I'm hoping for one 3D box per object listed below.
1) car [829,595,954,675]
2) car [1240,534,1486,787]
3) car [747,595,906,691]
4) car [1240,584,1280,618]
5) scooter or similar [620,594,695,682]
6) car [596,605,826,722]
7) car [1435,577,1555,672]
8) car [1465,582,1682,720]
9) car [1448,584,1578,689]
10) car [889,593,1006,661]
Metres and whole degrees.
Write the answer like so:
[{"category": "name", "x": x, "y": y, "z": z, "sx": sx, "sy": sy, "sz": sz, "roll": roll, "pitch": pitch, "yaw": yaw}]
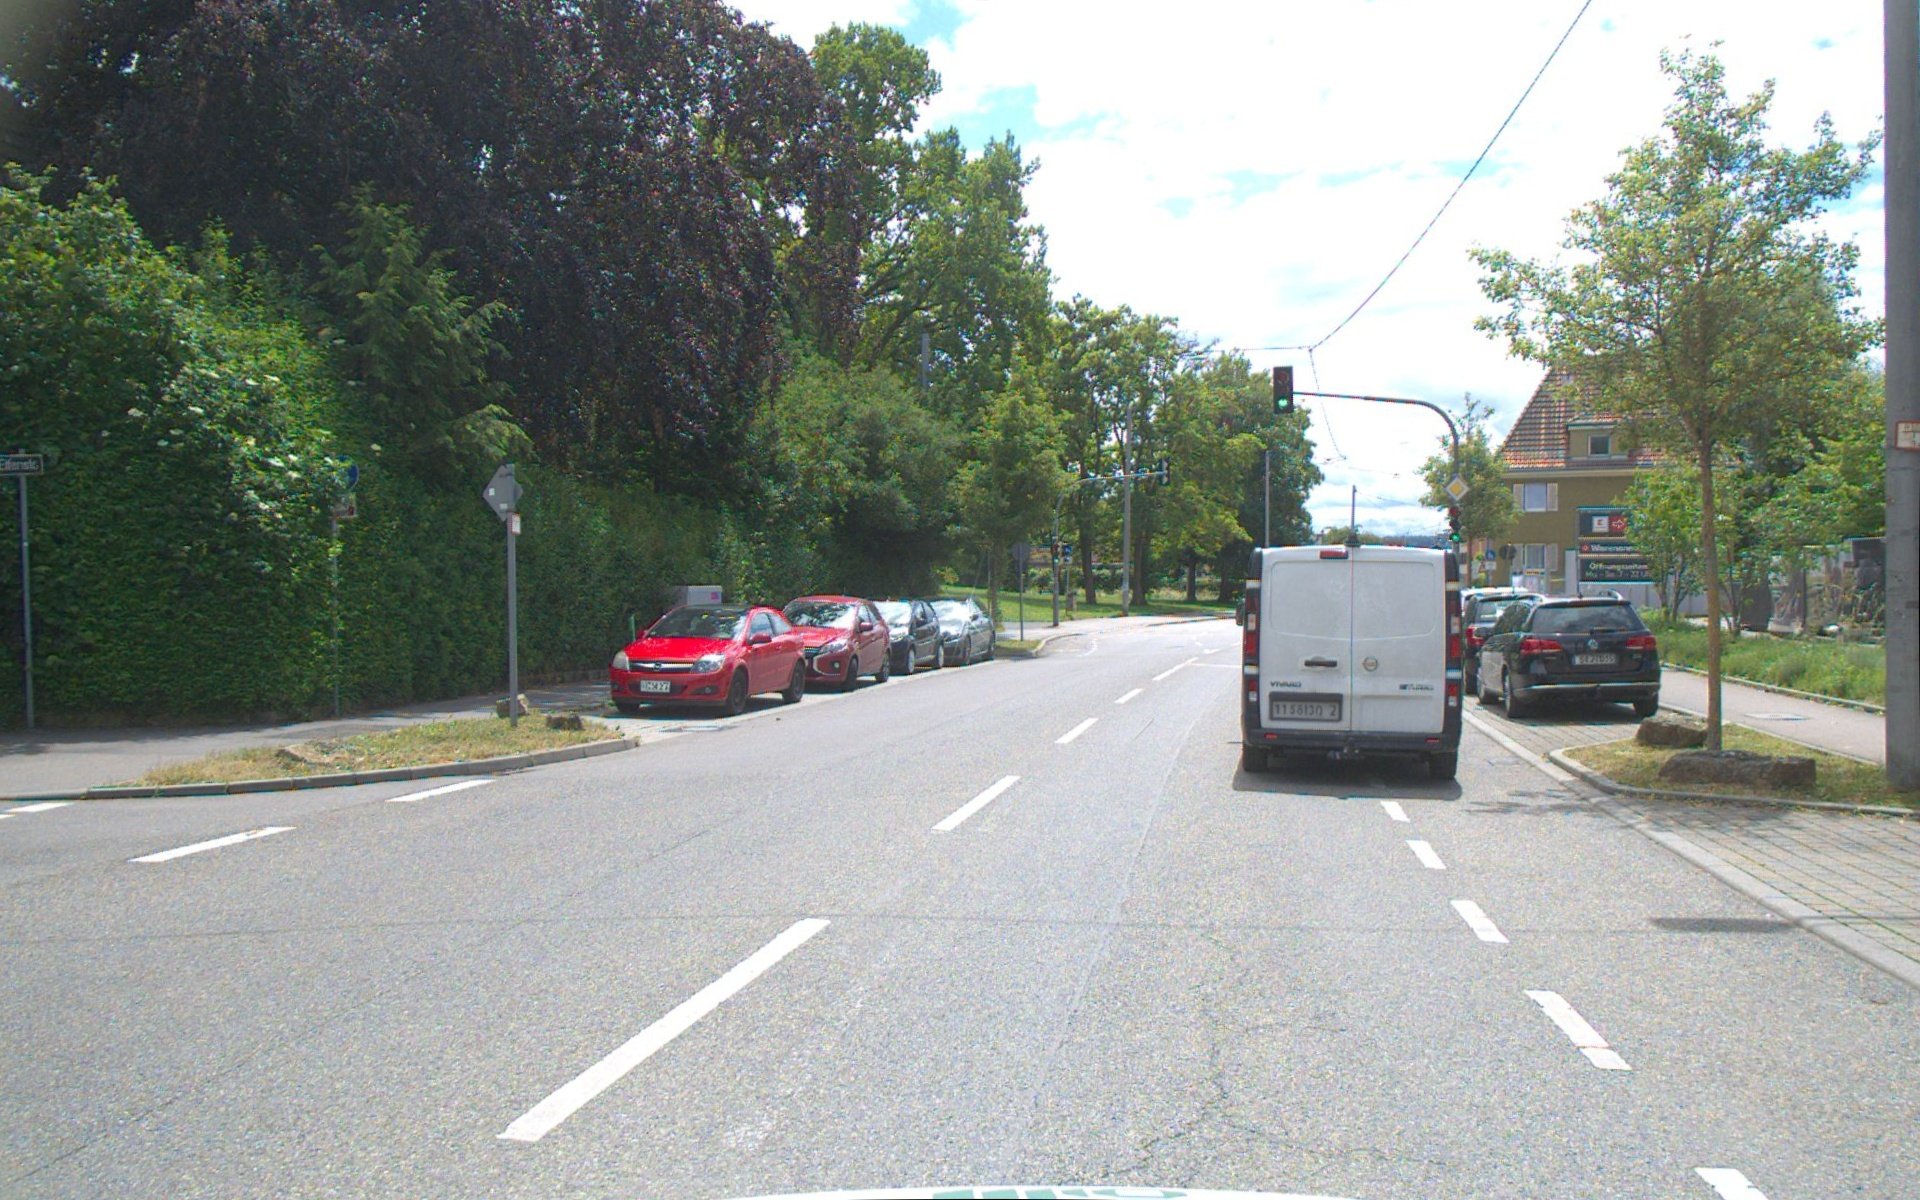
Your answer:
[{"category": "car", "x": -1.310, "y": 0.656, "z": 32.997, "sx": 1.561, "sy": 1.476, "sz": 3.599, "roll": 1, "pitch": 0, "yaw": 13}, {"category": "car", "x": 3.731, "y": 0.454, "z": 15.665, "sx": 1.897, "sy": 1.995, "sz": 4.837, "roll": 1, "pitch": 0, "yaw": 12}, {"category": "car", "x": -2.191, "y": 0.667, "z": 28.200, "sx": 1.614, "sy": 1.476, "sz": 4.108, "roll": 1, "pitch": 0, "yaw": 11}, {"category": "car", "x": 15.145, "y": 0.042, "z": 83.448, "sx": 1.794, "sy": 1.645, "sz": 4.156, "roll": -2, "pitch": 0, "yaw": 13}, {"category": "scooter or similar", "x": -5.192, "y": 0.633, "z": 28.473, "sx": 0.656, "sy": 1.437, "sz": 1.650, "roll": 1, "pitch": 1, "yaw": 13}, {"category": "car", "x": -3.325, "y": 0.795, "z": 23.012, "sx": 1.625, "sy": 1.402, "sz": 4.570, "roll": 1, "pitch": 0, "yaw": 12}, {"category": "car", "x": 10.239, "y": 0.439, "z": 31.939, "sx": 1.700, "sy": 1.644, "sz": 4.390, "roll": -3, "pitch": -1, "yaw": 12}, {"category": "car", "x": 7.825, "y": 0.589, "z": 21.556, "sx": 1.727, "sy": 1.503, "sz": 4.940, "roll": -3, "pitch": 0, "yaw": 10}, {"category": "car", "x": 8.775, "y": 0.540, "z": 26.498, "sx": 1.535, "sy": 1.519, "sz": 4.003, "roll": -2, "pitch": 0, "yaw": 12}, {"category": "car", "x": -0.208, "y": 0.557, "z": 37.169, "sx": 1.658, "sy": 1.389, "sz": 4.690, "roll": 1, "pitch": 0, "yaw": 12}]
